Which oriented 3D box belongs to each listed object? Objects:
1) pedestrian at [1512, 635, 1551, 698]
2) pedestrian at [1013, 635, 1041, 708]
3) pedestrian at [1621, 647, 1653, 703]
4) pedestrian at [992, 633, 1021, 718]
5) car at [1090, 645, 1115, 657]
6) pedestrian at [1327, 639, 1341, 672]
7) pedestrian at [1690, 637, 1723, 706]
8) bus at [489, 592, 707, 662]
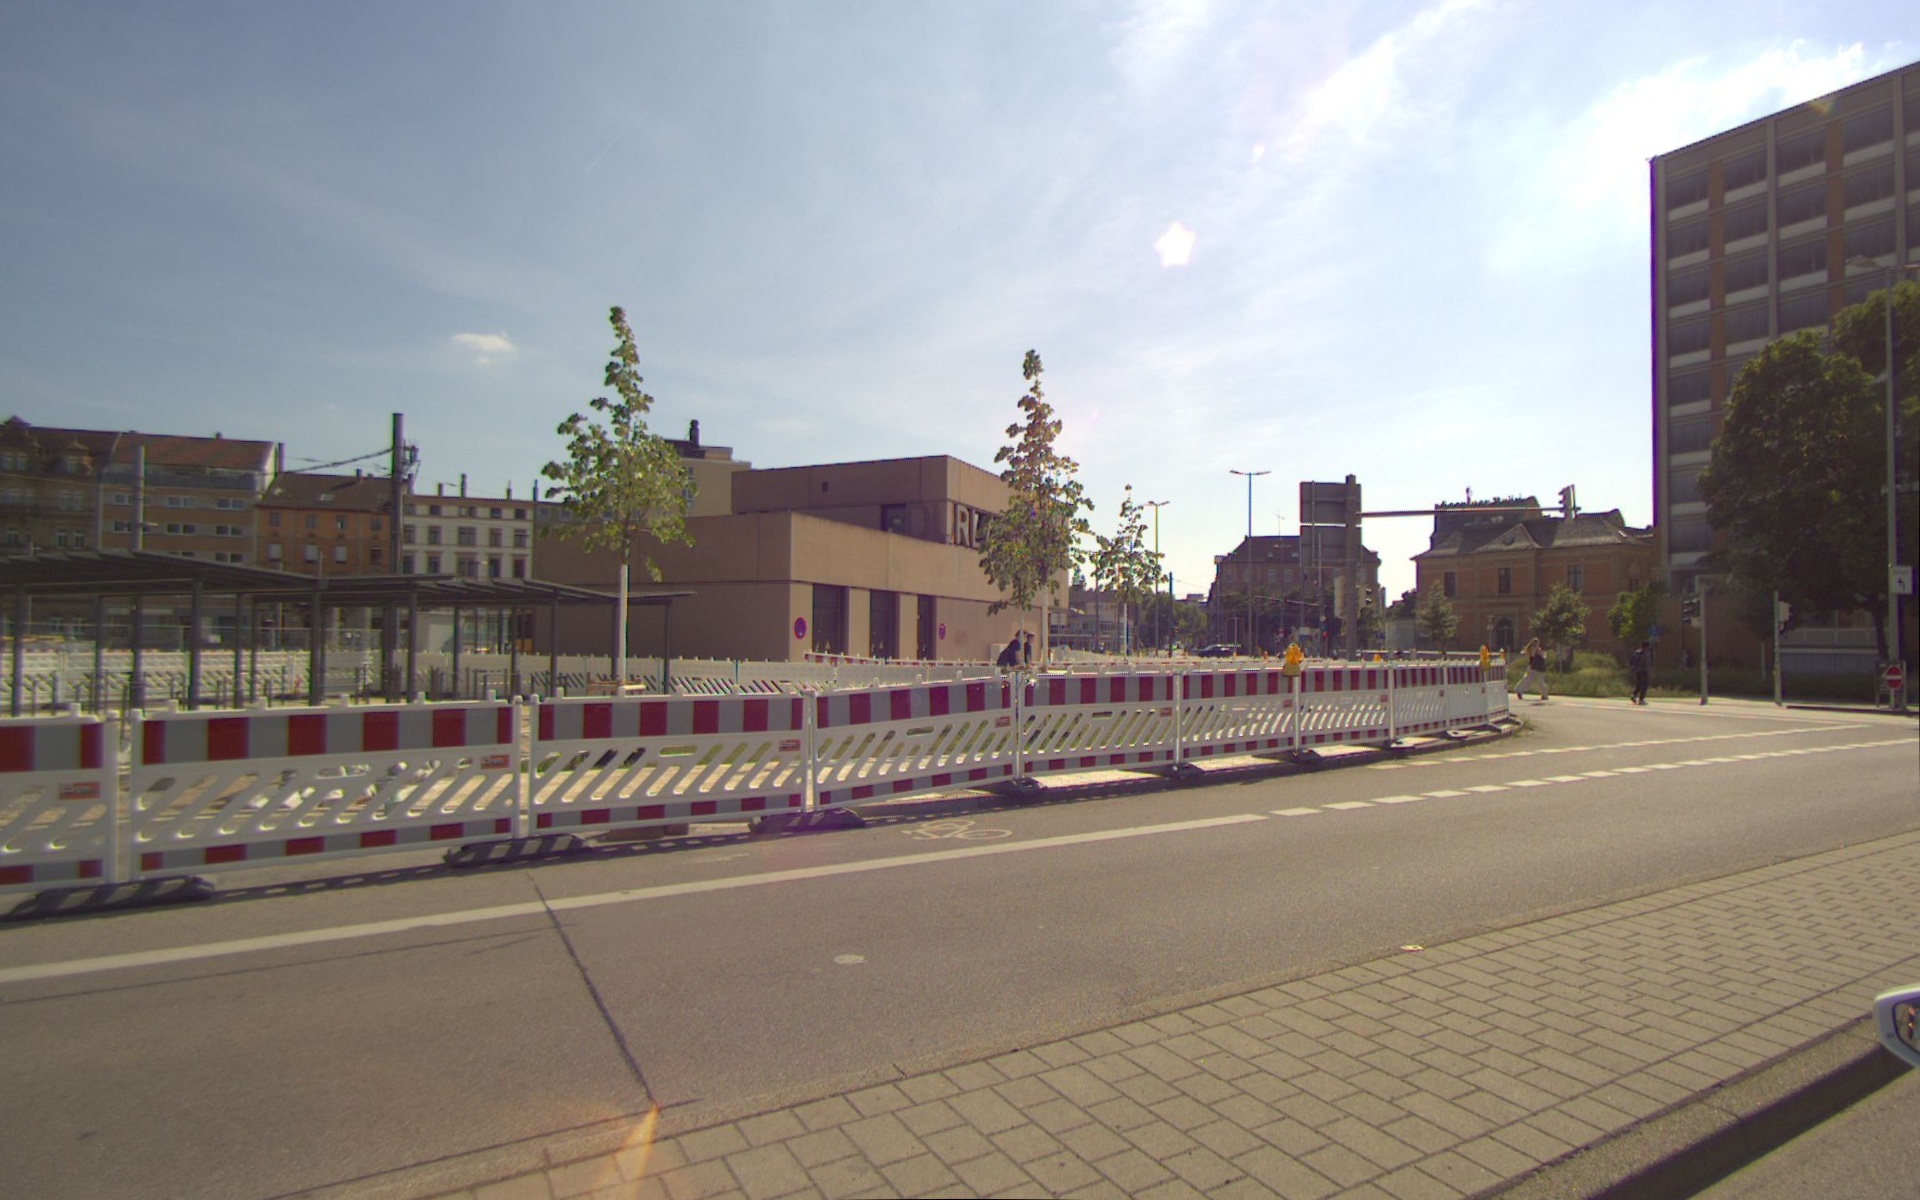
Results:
[{"bbox_3d":[16.599,1.931,29.167,0.728,1.775,1.104,-2,-5,44],"label":"pedestrian"},{"bbox_3d":[1.608,1.707,24.051,0.559,1.731,0.539,1,-2,-9],"label":"pedestrian"},{"bbox_3d":[18.778,2.068,27.873,0.624,1.511,0.613,-2,-3,44],"label":"pedestrian"},{"bbox_3d":[1.079,1.740,23.343,0.595,1.940,0.441,1,-2,-9],"label":"pedestrian"},{"bbox_3d":[22.074,7.918,155.413,3.973,1.739,1.630,3,-4,-44],"label":"car"},{"bbox_3d":[22.928,3.402,61.655,0.514,2.040,0.626,1,-2,-18],"label":"pedestrian"},{"bbox_3d":[22.609,2.151,30.418,0.604,2.040,0.687,2,-1,23],"label":"pedestrian"},{"bbox_3d":[-18.764,1.529,53.595,2.808,3.324,12.650,-1,-2,25],"label":"bus"}]
